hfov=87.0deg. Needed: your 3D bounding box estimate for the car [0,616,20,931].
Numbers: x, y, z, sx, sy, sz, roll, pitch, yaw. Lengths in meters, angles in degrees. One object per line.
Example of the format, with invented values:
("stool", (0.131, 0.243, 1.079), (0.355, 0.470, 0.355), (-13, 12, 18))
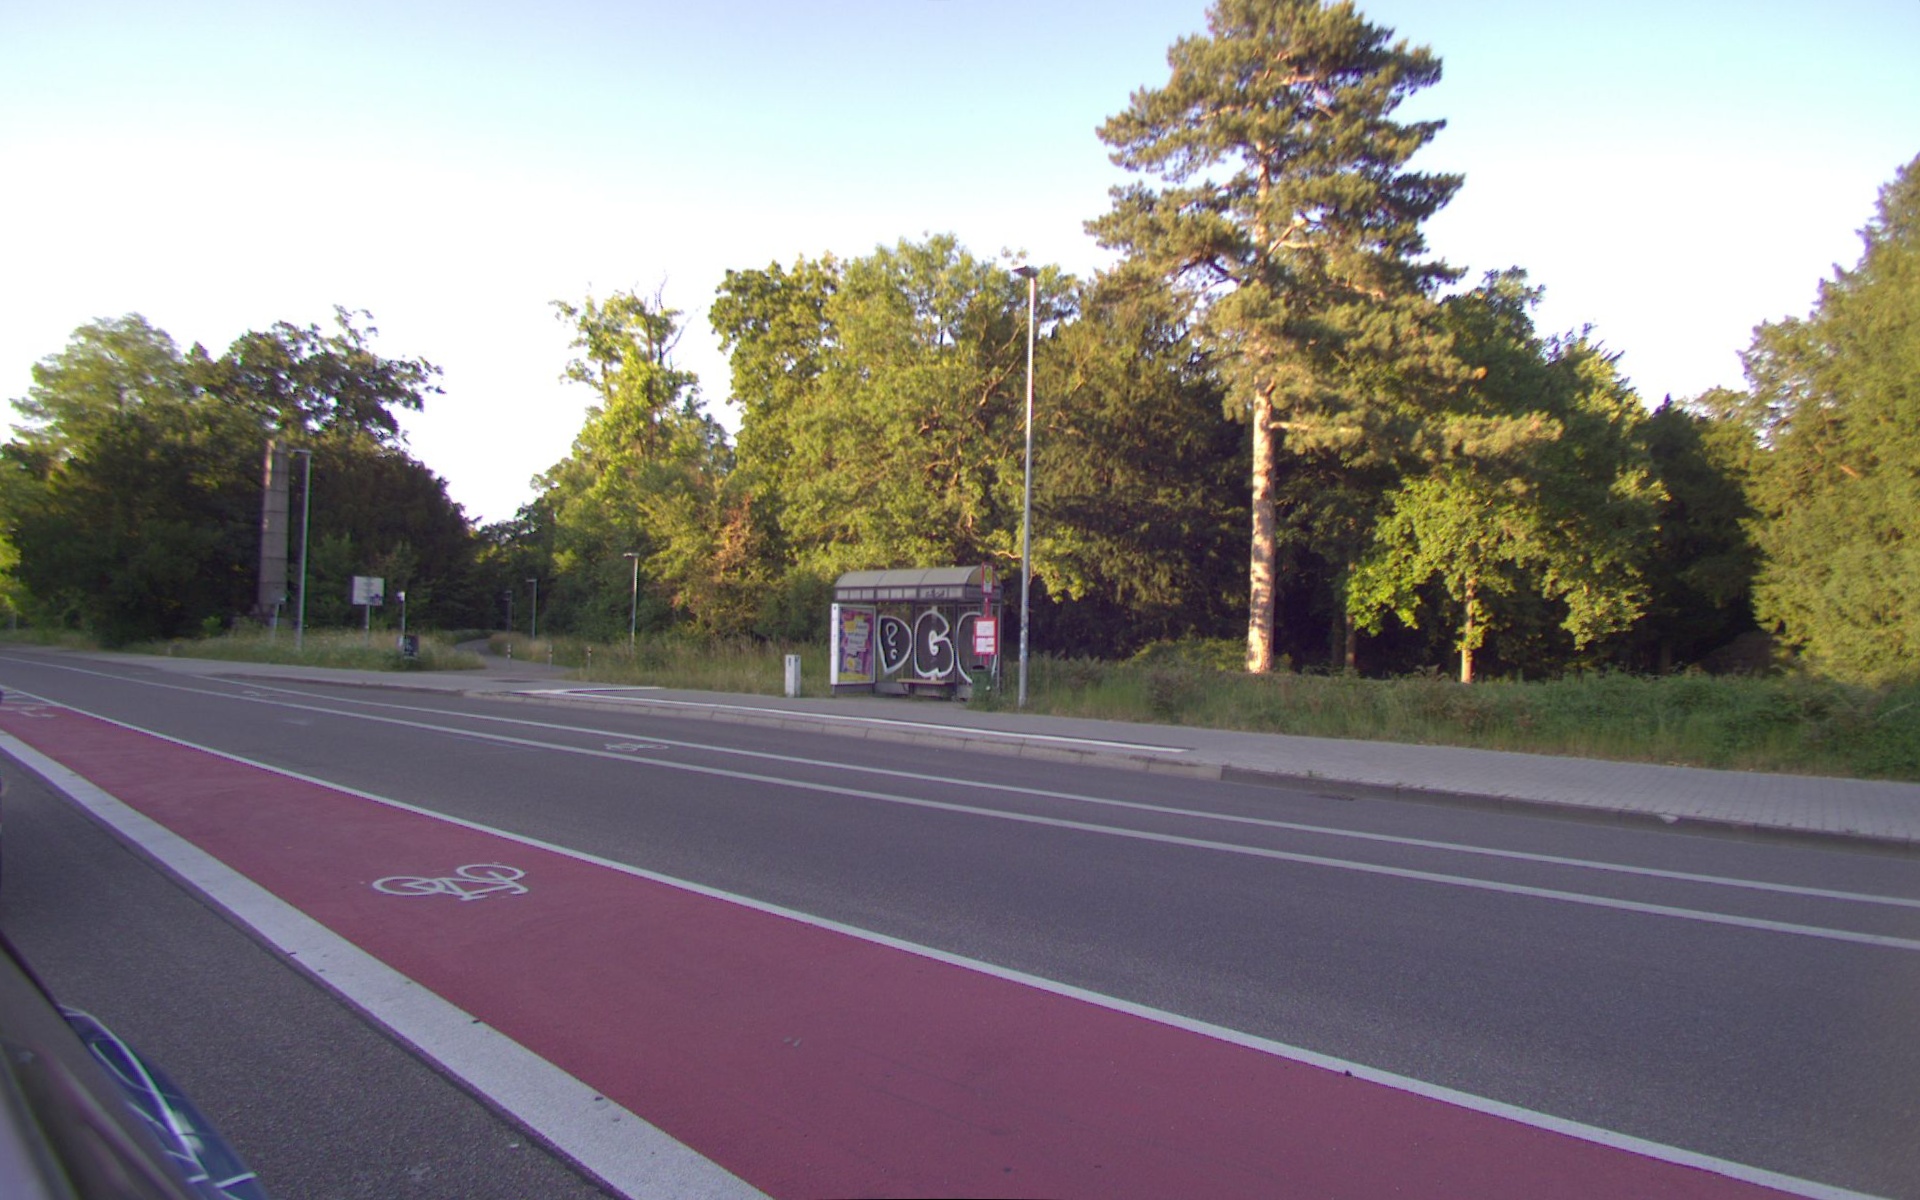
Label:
("car", (-6.838, 0.826, 5.556), (5.208, 1.410, 1.795), (-1, 0, 40))
